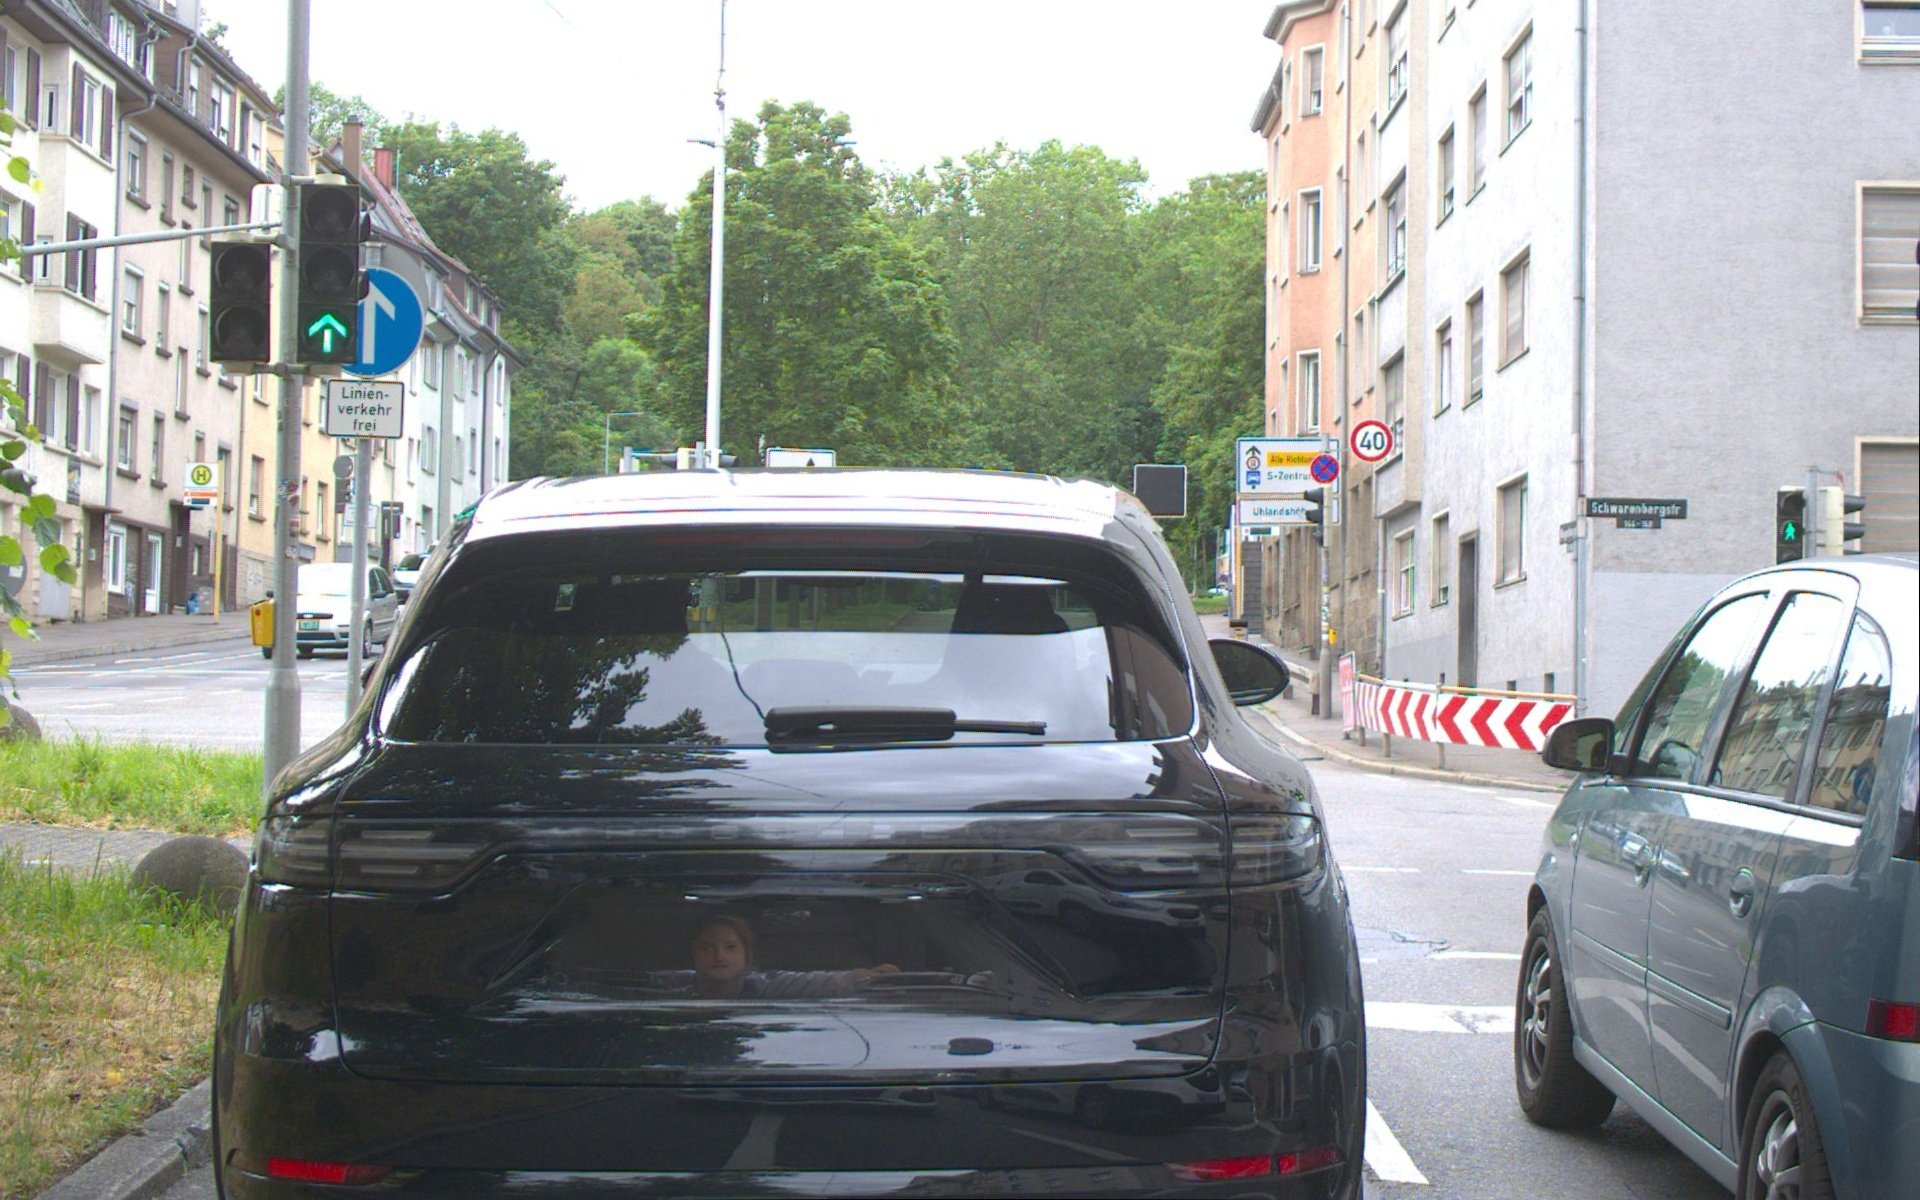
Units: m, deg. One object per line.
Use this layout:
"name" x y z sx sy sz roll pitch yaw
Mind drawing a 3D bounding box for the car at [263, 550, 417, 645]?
"car" -10.028 -0.016 55.868 1.619 1.475 3.823 1 -1 3

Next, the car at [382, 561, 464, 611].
"car" -15.412 -0.425 98.798 1.739 1.382 3.814 1 1 0

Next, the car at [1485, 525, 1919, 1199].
"car" 2.357 0.698 7.804 1.628 1.592 3.669 4 1 -1

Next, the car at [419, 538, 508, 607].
"car" -15.073 -0.851 104.650 2.016 2.038 4.667 1 1 0

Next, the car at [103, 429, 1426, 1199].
"car" -0.312 0.562 7.091 1.955 1.669 4.000 0 1 -1

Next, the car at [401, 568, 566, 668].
"car" -6.949 0.233 50.505 1.862 1.383 4.094 1 1 0
